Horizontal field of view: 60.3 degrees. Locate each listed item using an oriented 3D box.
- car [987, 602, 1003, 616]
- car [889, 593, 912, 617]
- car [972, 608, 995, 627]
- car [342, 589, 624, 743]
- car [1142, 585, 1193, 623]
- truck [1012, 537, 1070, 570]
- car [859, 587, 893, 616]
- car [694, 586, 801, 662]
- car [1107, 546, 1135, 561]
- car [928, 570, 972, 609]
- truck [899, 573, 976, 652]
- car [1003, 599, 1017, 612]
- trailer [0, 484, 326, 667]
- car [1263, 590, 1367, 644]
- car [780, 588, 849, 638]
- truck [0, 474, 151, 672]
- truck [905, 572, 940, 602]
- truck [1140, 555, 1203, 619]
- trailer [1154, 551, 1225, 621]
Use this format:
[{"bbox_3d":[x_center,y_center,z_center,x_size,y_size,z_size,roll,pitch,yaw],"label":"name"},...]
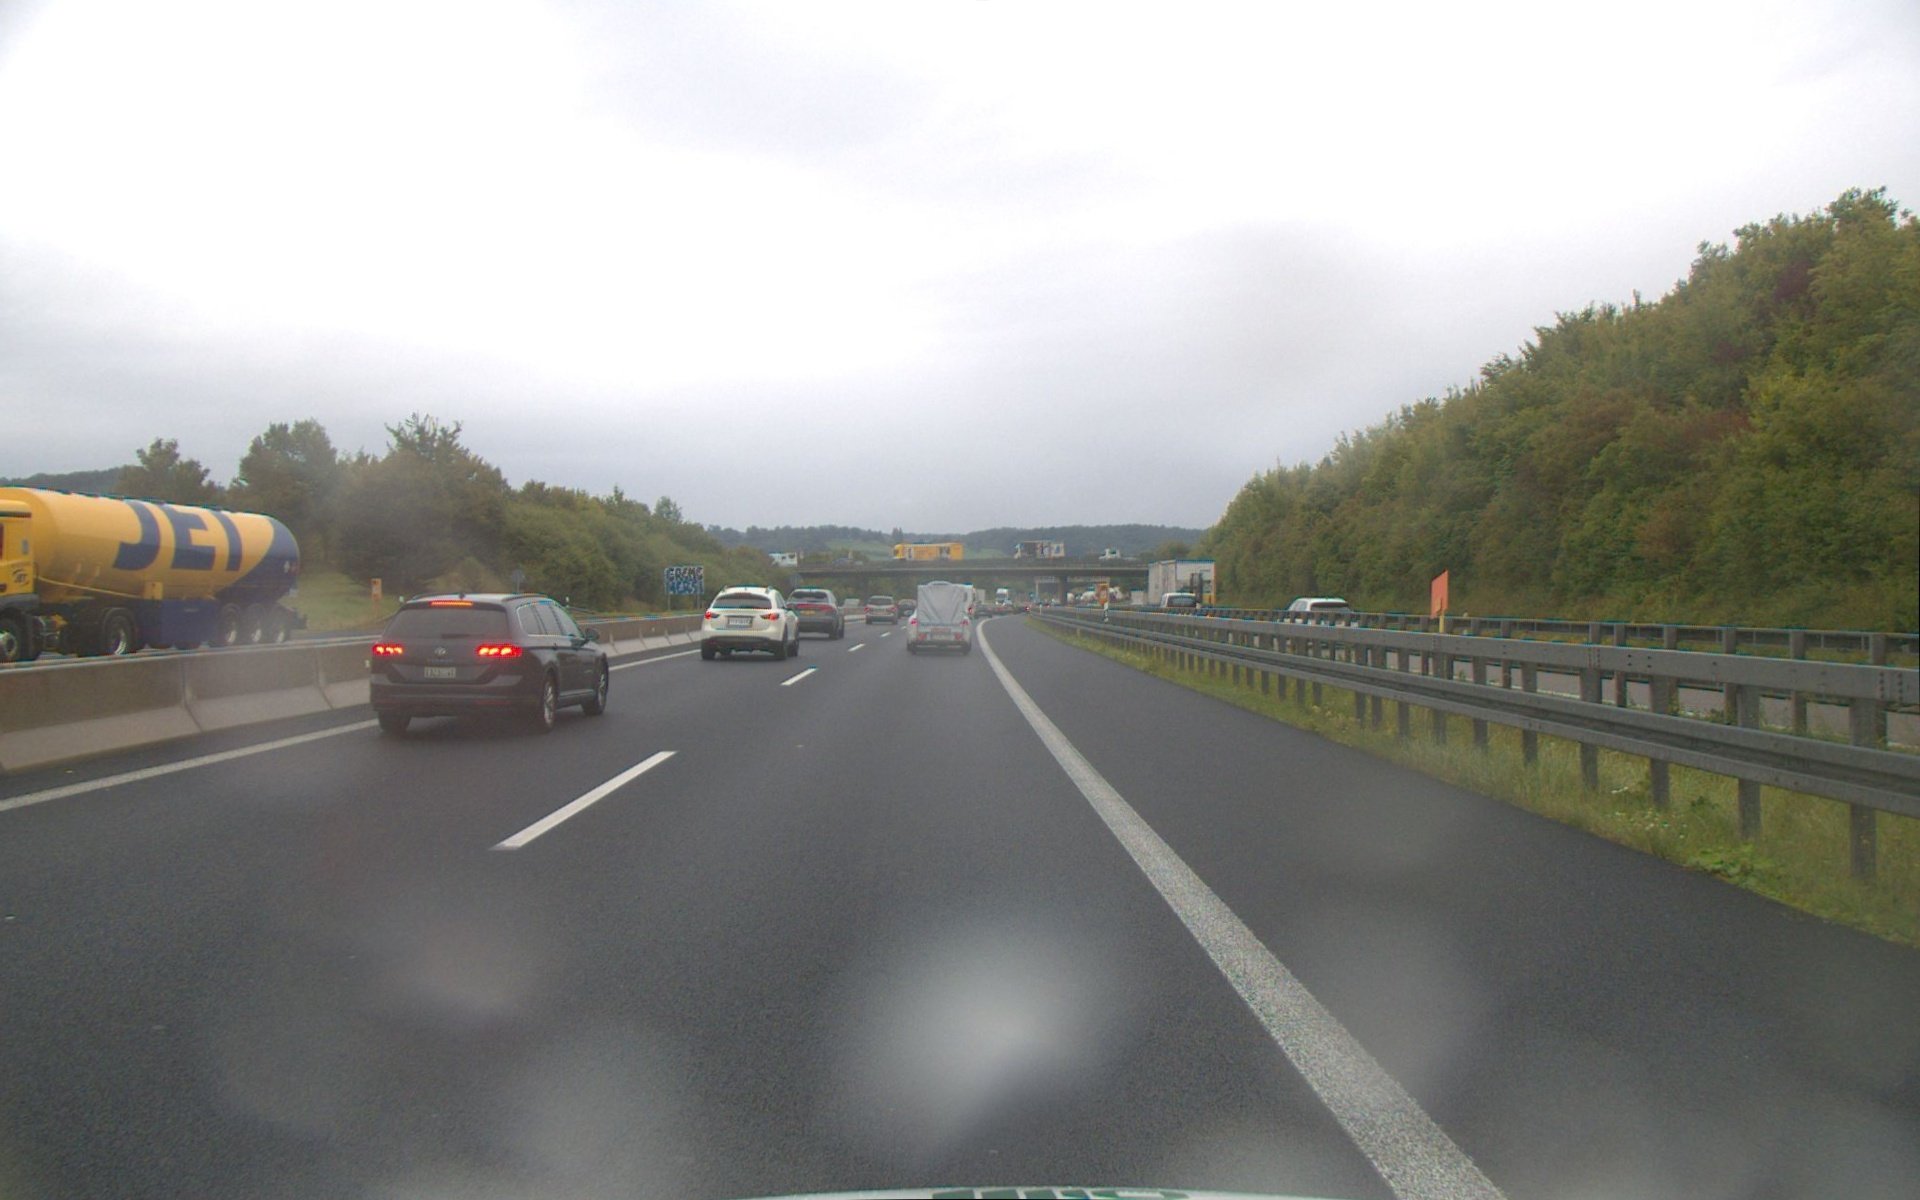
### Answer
[{"bbox_3d":[4.489,1.183,213.531,1.953,1.780,4.000,1,0,0],"label":"car"},{"bbox_3d":[-4.654,0.366,129.276,1.805,1.851,3.998,0,0,-2],"label":"car"},{"bbox_3d":[2.372,1.742,166.120,1.954,1.780,3.997,1,0,-4],"label":"car"},{"bbox_3d":[-5.200,0.652,18.748,1.862,1.523,4.850,0,0,-1],"label":"car"},{"bbox_3d":[10.351,0.168,82.852,1.822,1.837,4.646,0,0,-2],"label":"car"},{"bbox_3d":[12.297,-7.039,252.497,3.733,4.920,9.926,0,0,-34],"label":"truck"},{"bbox_3d":[-4.835,0.044,95.621,1.862,1.641,4.015,0,0,-2],"label":"car"},{"bbox_3d":[-4.918,0.522,38.840,1.936,1.668,4.500,0,0,0],"label":"car"},{"bbox_3d":[22.992,-6.629,236.056,1.825,1.948,3.944,1,0,-39],"label":"car"},{"bbox_3d":[-0.647,-0.775,117.075,2.954,2.662,6.075,0,1,1],"label":"car"},{"bbox_3d":[-0.541,0.294,46.155,1.977,2.020,7.213,0,0,1],"label":"truck"},{"bbox_3d":[7.275,0.768,241.258,1.952,1.780,4.001,1,0,1],"label":"car"},{"bbox_3d":[-17.953,-0.477,37.235,2.704,3.458,11.448,1,0,1],"label":"trailer"},{"bbox_3d":[10.866,0.489,50.948,1.968,1.575,4.692,0,0,-4],"label":"car"},{"bbox_3d":[-5.051,0.431,57.986,2.130,1.660,4.499,0,0,-2],"label":"car"},{"bbox_3d":[-18.075,-0.500,31.114,2.705,3.458,5.846,1,0,1],"label":"truck"},{"bbox_3d":[-4.663,-1.619,208.517,3.688,3.616,13.190,0,0,2],"label":"truck"},{"bbox_3d":[15.101,-0.934,118.704,3.366,4.364,10.419,0,0,1],"label":"truck"},{"bbox_3d":[14.912,-0.892,108.335,3.366,4.364,10.455,0,0,1],"label":"trailer"}]
